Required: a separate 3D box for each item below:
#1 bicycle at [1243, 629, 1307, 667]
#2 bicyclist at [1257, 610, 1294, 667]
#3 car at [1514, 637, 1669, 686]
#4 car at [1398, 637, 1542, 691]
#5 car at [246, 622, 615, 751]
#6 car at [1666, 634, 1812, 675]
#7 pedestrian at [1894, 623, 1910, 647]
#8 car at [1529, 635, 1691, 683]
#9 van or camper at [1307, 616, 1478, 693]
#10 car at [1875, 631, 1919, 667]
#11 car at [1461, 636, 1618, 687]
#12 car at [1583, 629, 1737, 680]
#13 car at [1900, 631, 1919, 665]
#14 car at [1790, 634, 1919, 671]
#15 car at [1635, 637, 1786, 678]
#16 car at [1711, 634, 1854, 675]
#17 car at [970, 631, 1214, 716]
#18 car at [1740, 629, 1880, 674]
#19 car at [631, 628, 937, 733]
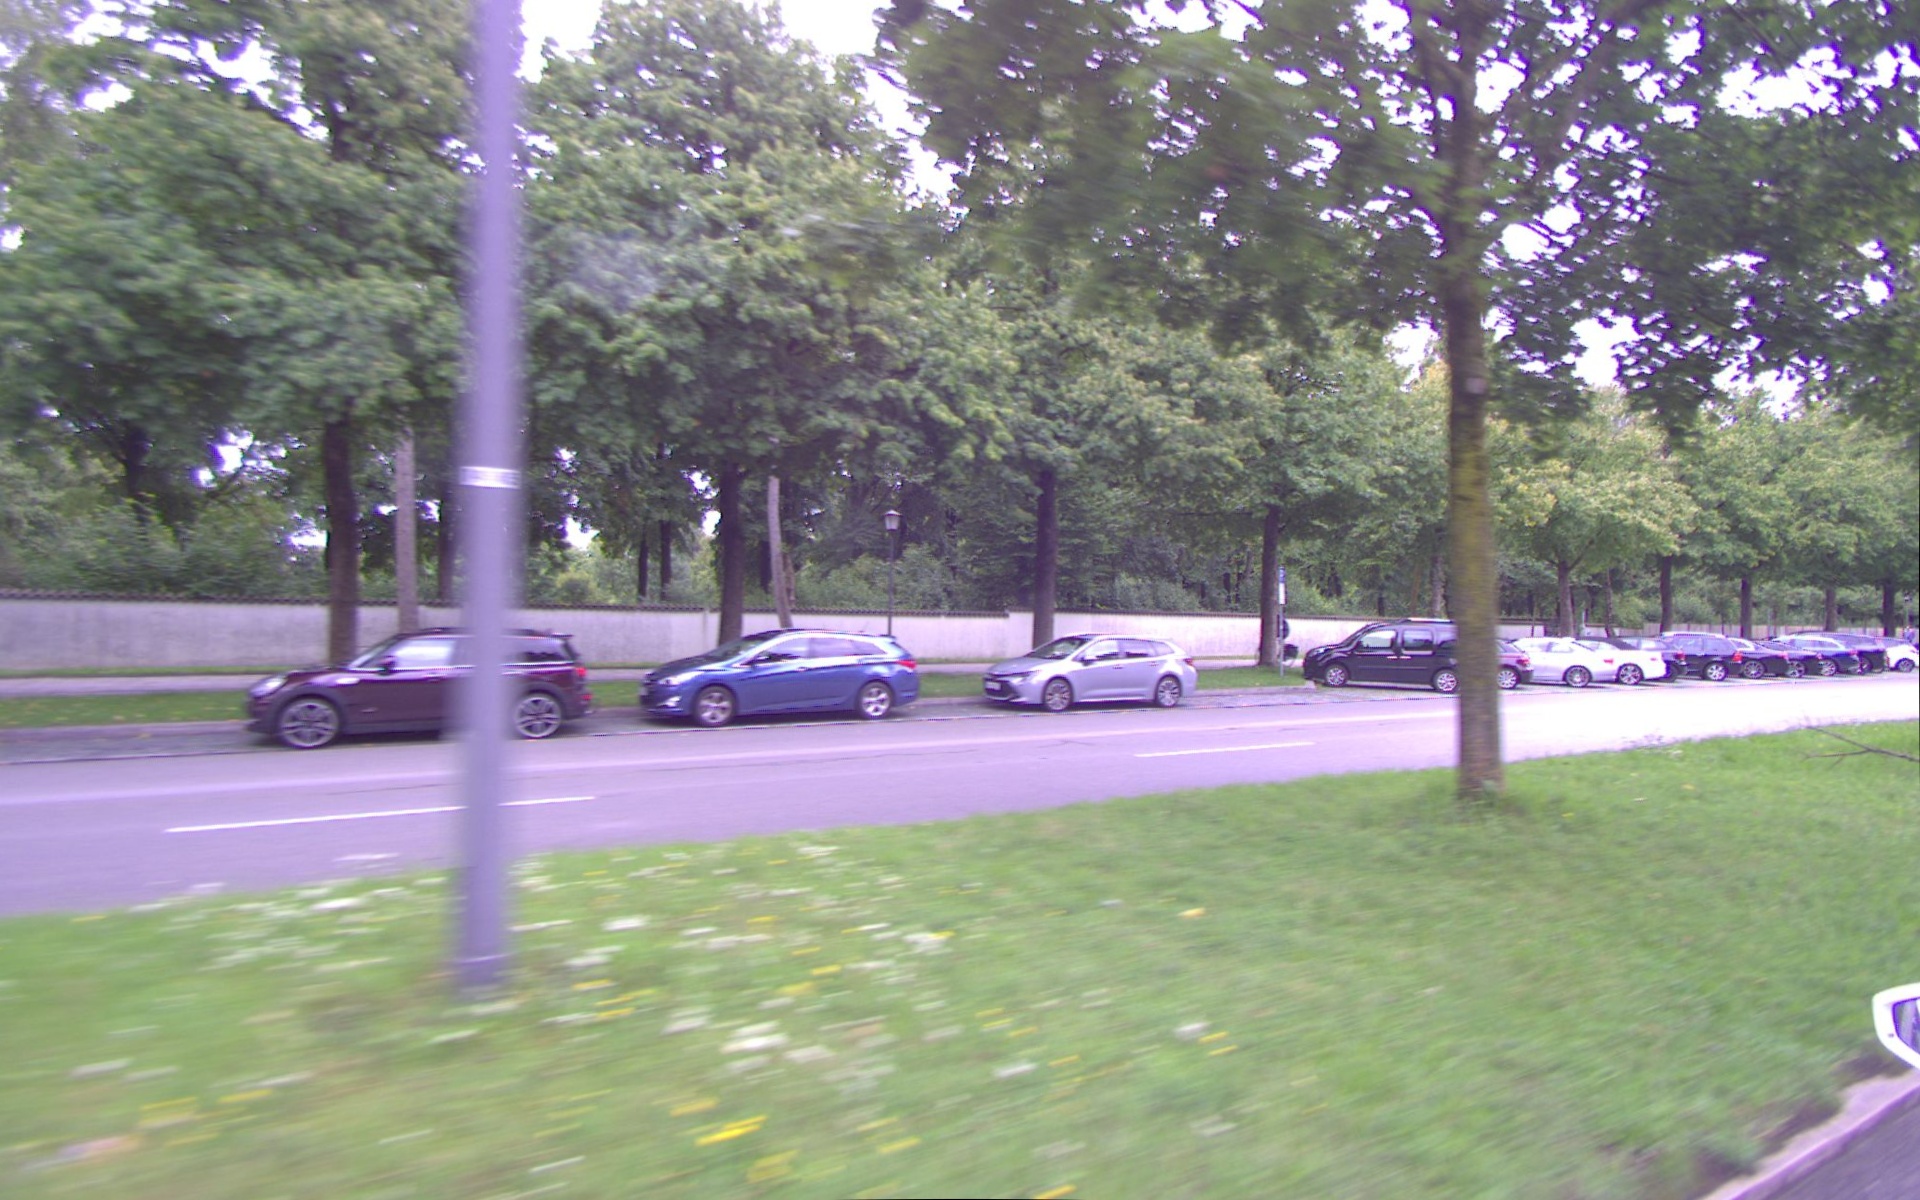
[{"bbox_3d":[10.014,1.521,31.898,2.091,1.177,0.710,1,-1,-30],"label":"bicycle"},{"bbox_3d":[10.022,1.221,31.903,0.912,1.770,0.702,1,-1,-30],"label":"bicyclist"},{"bbox_3d":[19.860,1.911,31.782,3.967,1.400,1.673,0,-1,25],"label":"car"},{"bbox_3d":[14.440,1.777,28.589,3.553,1.372,1.752,0,-1,27],"label":"car"},{"bbox_3d":[-7.097,1.115,13.863,4.247,1.523,1.565,1,0,-27],"label":"car"},{"bbox_3d":[29.614,2.050,38.347,4.121,1.428,1.917,0,-1,27],"label":"car"},{"bbox_3d":[66.175,2.455,70.561,0.668,1.633,0.691,0,-1,29],"label":"pedestrian"},{"bbox_3d":[21.460,1.925,33.369,4.157,1.441,1.919,0,-1,19],"label":"car"},{"bbox_3d":[11.436,1.399,26.841,4.044,1.879,1.850,0,-1,20],"label":"van or camper"},{"bbox_3d":[47.939,2.403,49.364,4.032,1.717,1.917,0,-1,27],"label":"car"},{"bbox_3d":[17.216,1.794,30.061,3.925,1.372,1.849,0,-1,26],"label":"car"},{"bbox_3d":[24.233,1.860,34.948,4.028,1.618,1.919,0,-1,21],"label":"car"},{"bbox_3d":[50.873,2.465,51.131,4.032,1.717,1.917,0,-1,27],"label":"car"},{"bbox_3d":[40.142,2.345,45.212,4.035,1.521,1.916,0,-1,30],"label":"car"},{"bbox_3d":[27.232,2.059,36.623,4.125,1.340,1.917,0,-1,27],"label":"car"},{"bbox_3d":[32.540,2.133,39.889,4.032,1.489,1.917,0,-1,27],"label":"car"},{"bbox_3d":[2.660,1.380,19.875,4.750,1.458,1.629,1,0,-29],"label":"car"},{"bbox_3d":[34.826,2.067,41.289,4.032,1.702,1.917,0,-1,27],"label":"car"},{"bbox_3d":[-2.836,1.246,16.652,4.745,1.478,1.578,1,0,-32],"label":"car"}]
